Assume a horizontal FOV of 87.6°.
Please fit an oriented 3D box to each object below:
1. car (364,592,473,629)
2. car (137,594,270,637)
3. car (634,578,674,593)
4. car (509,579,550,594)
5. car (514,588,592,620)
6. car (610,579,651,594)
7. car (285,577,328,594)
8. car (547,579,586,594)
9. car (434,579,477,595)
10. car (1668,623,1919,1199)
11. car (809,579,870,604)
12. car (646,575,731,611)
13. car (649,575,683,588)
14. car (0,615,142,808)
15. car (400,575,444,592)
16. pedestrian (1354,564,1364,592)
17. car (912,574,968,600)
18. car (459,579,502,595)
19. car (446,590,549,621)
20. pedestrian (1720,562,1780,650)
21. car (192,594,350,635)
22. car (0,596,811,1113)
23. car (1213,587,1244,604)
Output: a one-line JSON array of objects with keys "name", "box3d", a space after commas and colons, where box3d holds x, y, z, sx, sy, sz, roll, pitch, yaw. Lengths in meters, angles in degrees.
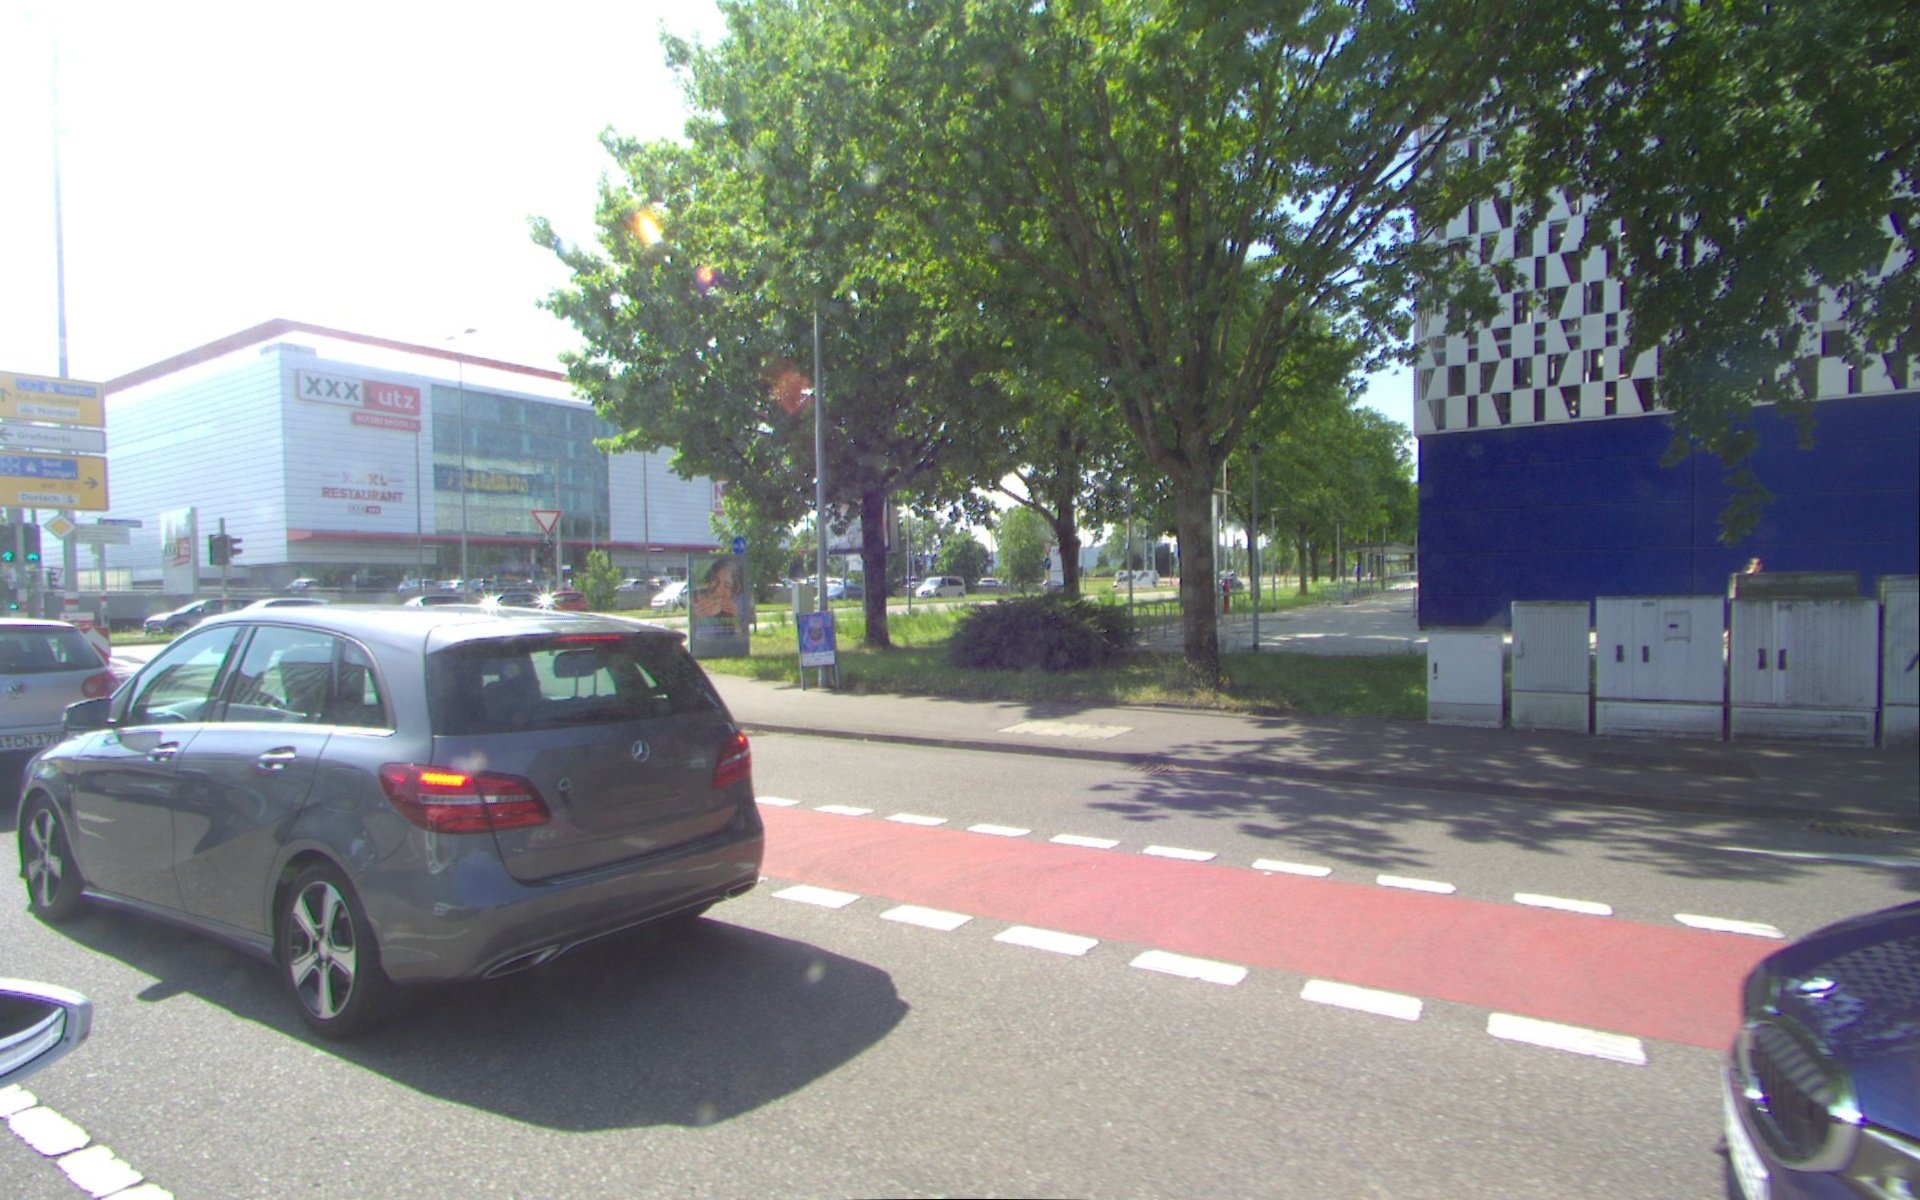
[{"name": "car", "box3d": [-25.123, 0.477, 46.595, 1.883, 1.529, 4.015, -1, 1, 35]}, {"name": "car", "box3d": [-30.110, 0.583, 39.965, 1.785, 1.579, 3.871, 0, 1, 36]}, {"name": "car", "box3d": [-30.455, -1.403, 99.688, 3.955, 1.439, 1.734, 0, 1, 35]}, {"name": "car", "box3d": [-42.723, -1.373, 99.326, 4.143, 1.439, 1.894, 0, 1, 35]}, {"name": "car", "box3d": [-21.054, 0.174, 51.893, 1.578, 1.597, 3.458, 0, 1, 36]}, {"name": "car", "box3d": [-32.199, -1.336, 97.827, 4.053, 1.439, 1.679, 0, 1, 35]}, {"name": "car", "box3d": [-57.084, -1.288, 87.472, 4.143, 1.439, 1.765, 0, 1, 35]}, {"name": "car", "box3d": [-40.539, -1.410, 103.166, 4.142, 1.439, 1.799, 0, 1, 35]}, {"name": "car", "box3d": [-46.713, -1.161, 92.729, 4.143, 1.439, 1.826, 0, 1, 35]}, {"name": "car", "box3d": [3.415, 0.764, 0.836, 4.472, 1.448, 1.792, 0, 0, 31]}, {"name": "car", "box3d": [-8.081, -0.570, 67.374, 1.662, 1.642, 4.101, 0, 1, 37]}, {"name": "car", "box3d": [-15.970, -0.444, 59.101, 1.937, 2.002, 4.658, -2, 0, 35]}, {"name": "car", "box3d": [-35.373, -2.182, 120.325, 4.143, 1.439, 1.679, 0, 1, 35]}, {"name": "car", "box3d": [-8.722, 0.852, 8.495, 3.628, 1.433, 1.664, 0, 0, 31]}, {"name": "car", "box3d": [-48.793, -1.465, 90.815, 3.950, 1.439, 1.795, 0, 1, 32]}, {"name": "pedestrian", "box3d": [29.284, -1.611, 73.472, 0.670, 2.039, 0.600, 0, -1, 18]}, {"name": "car", "box3d": [-1.527, -1.040, 79.558, 1.890, 1.961, 4.756, -2, 0, 37]}, {"name": "car", "box3d": [-45.697, -1.261, 95.404, 4.143, 1.439, 1.866, 0, 1, 35]}, {"name": "car", "box3d": [-21.443, 0.235, 46.585, 1.701, 1.360, 4.032, -1, 0, 34]}, {"name": "pedestrian", "box3d": [14.438, 0.107, 18.322, 0.769, 1.567, 0.677, 0, 2, 32]}, {"name": "car", "box3d": [-26.957, 0.550, 39.324, 1.933, 1.444, 4.701, -1, 0, 35]}, {"name": "car", "box3d": [-2.868, 0.772, 4.851, 4.077, 1.559, 1.771, 0, 0, 31]}, {"name": "car", "box3d": [24.754, -0.406, 92.255, 1.618, 1.556, 3.893, 0, 1, 34]}]
